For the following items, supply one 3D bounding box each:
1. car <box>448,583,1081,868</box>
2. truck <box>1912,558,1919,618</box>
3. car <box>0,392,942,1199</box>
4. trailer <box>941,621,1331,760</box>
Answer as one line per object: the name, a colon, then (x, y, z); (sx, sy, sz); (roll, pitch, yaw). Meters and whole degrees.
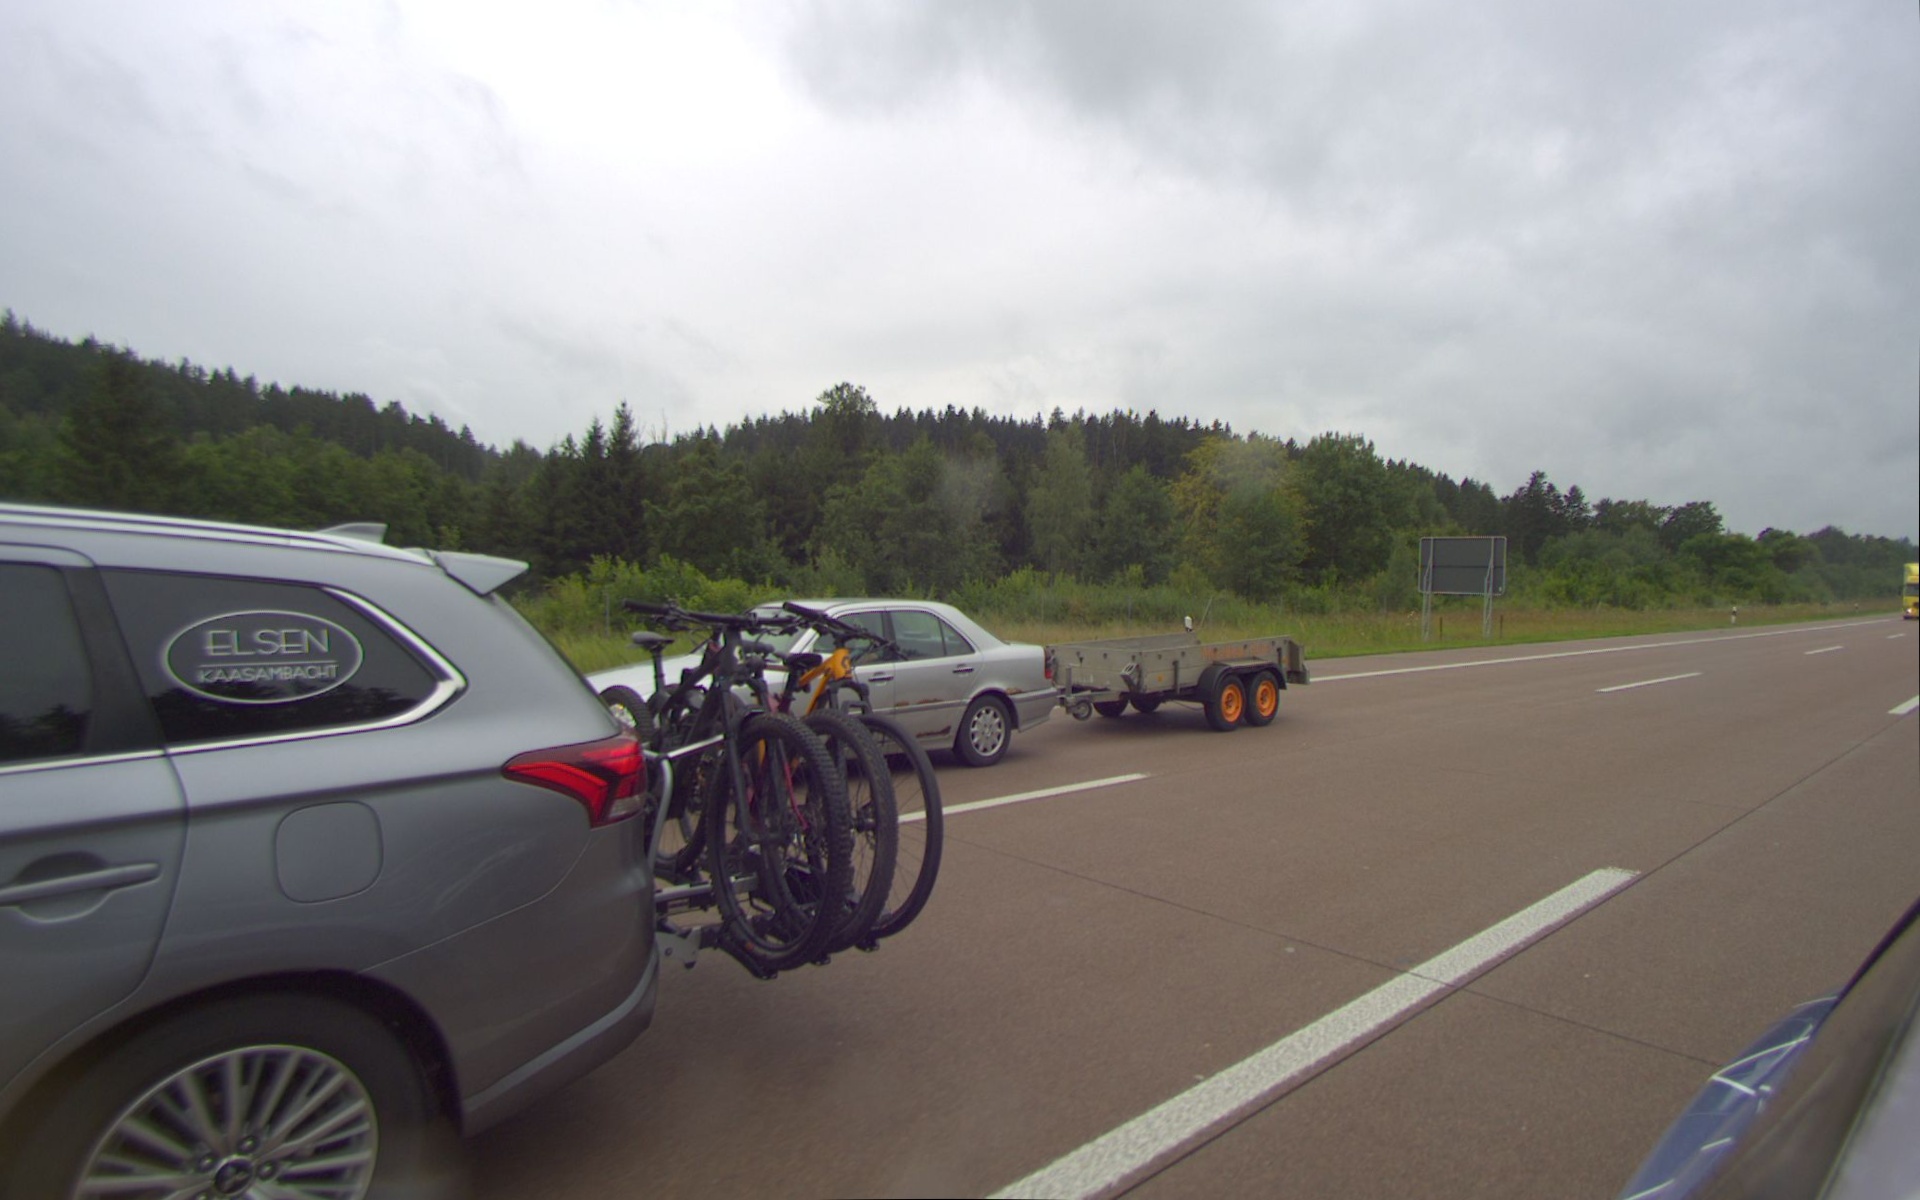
car: (-1.283, 0.706, 8.245); (4.891, 1.631, 1.701); (-2, 2, -41)
truck: (71.238, -0.938, 73.370); (6.141, 4.267, 2.608); (-2, 1, -41)
car: (-2.851, 0.493, 1.801); (5.720, 1.612, 1.996); (-2, 1, -42)
trailer: (2.155, 0.883, 11.572); (4.558, 1.181, 1.975); (0, 0, -41)
